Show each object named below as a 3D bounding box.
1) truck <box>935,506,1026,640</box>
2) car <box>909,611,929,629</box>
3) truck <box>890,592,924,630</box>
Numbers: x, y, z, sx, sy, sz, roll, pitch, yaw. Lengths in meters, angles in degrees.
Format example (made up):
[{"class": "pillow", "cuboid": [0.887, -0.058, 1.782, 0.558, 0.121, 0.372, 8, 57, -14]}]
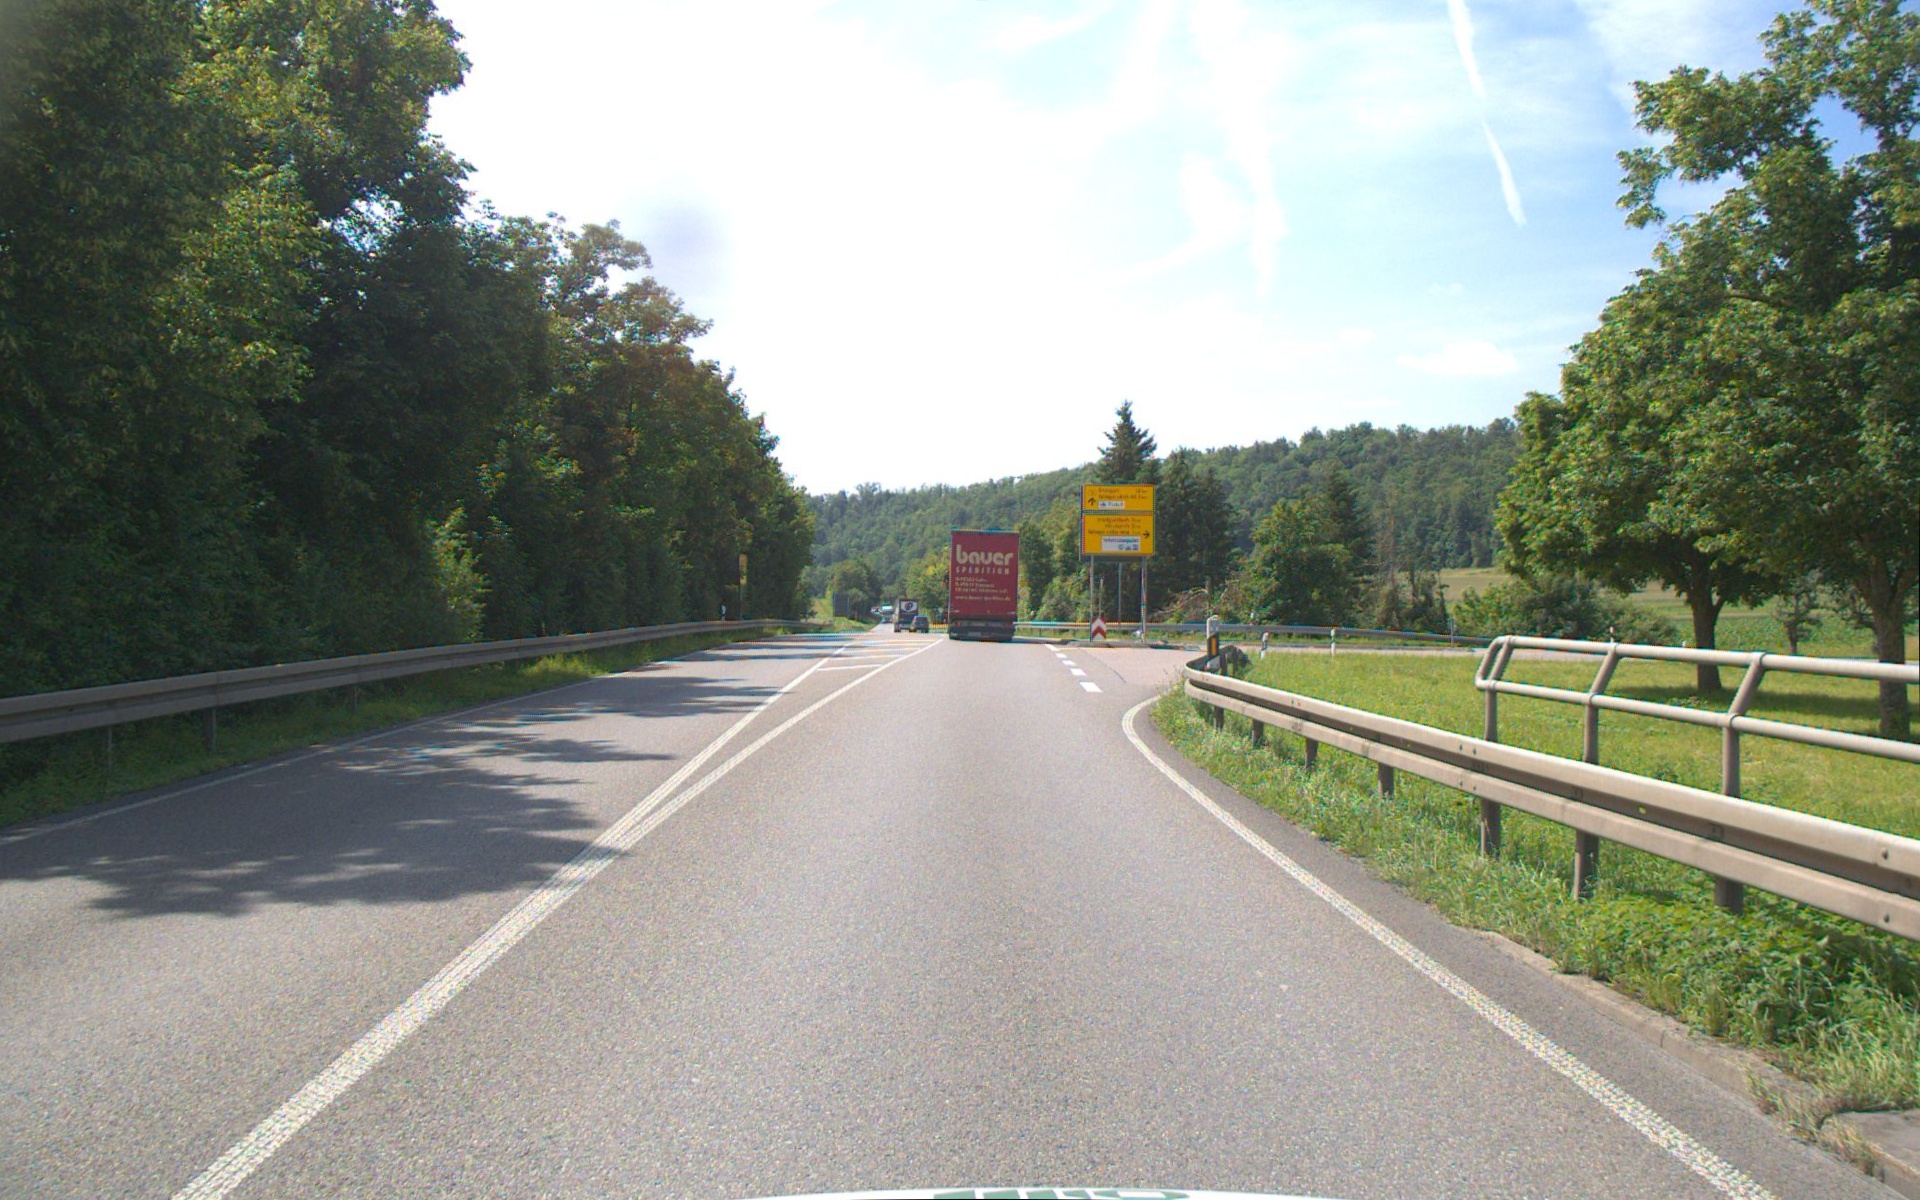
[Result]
[{"class": "truck", "cuboid": [0.649, -0.958, 66.514, 3.108, 4.706, 13.540, 2, 0, -1]}, {"class": "car", "cuboid": [-4.554, 2.243, 182.161, 1.954, 1.842, 3.996, 4, -2, -4]}, {"class": "truck", "cuboid": [-6.881, 1.463, 213.232, 3.827, 4.446, 13.282, 3, -1, -3]}]
